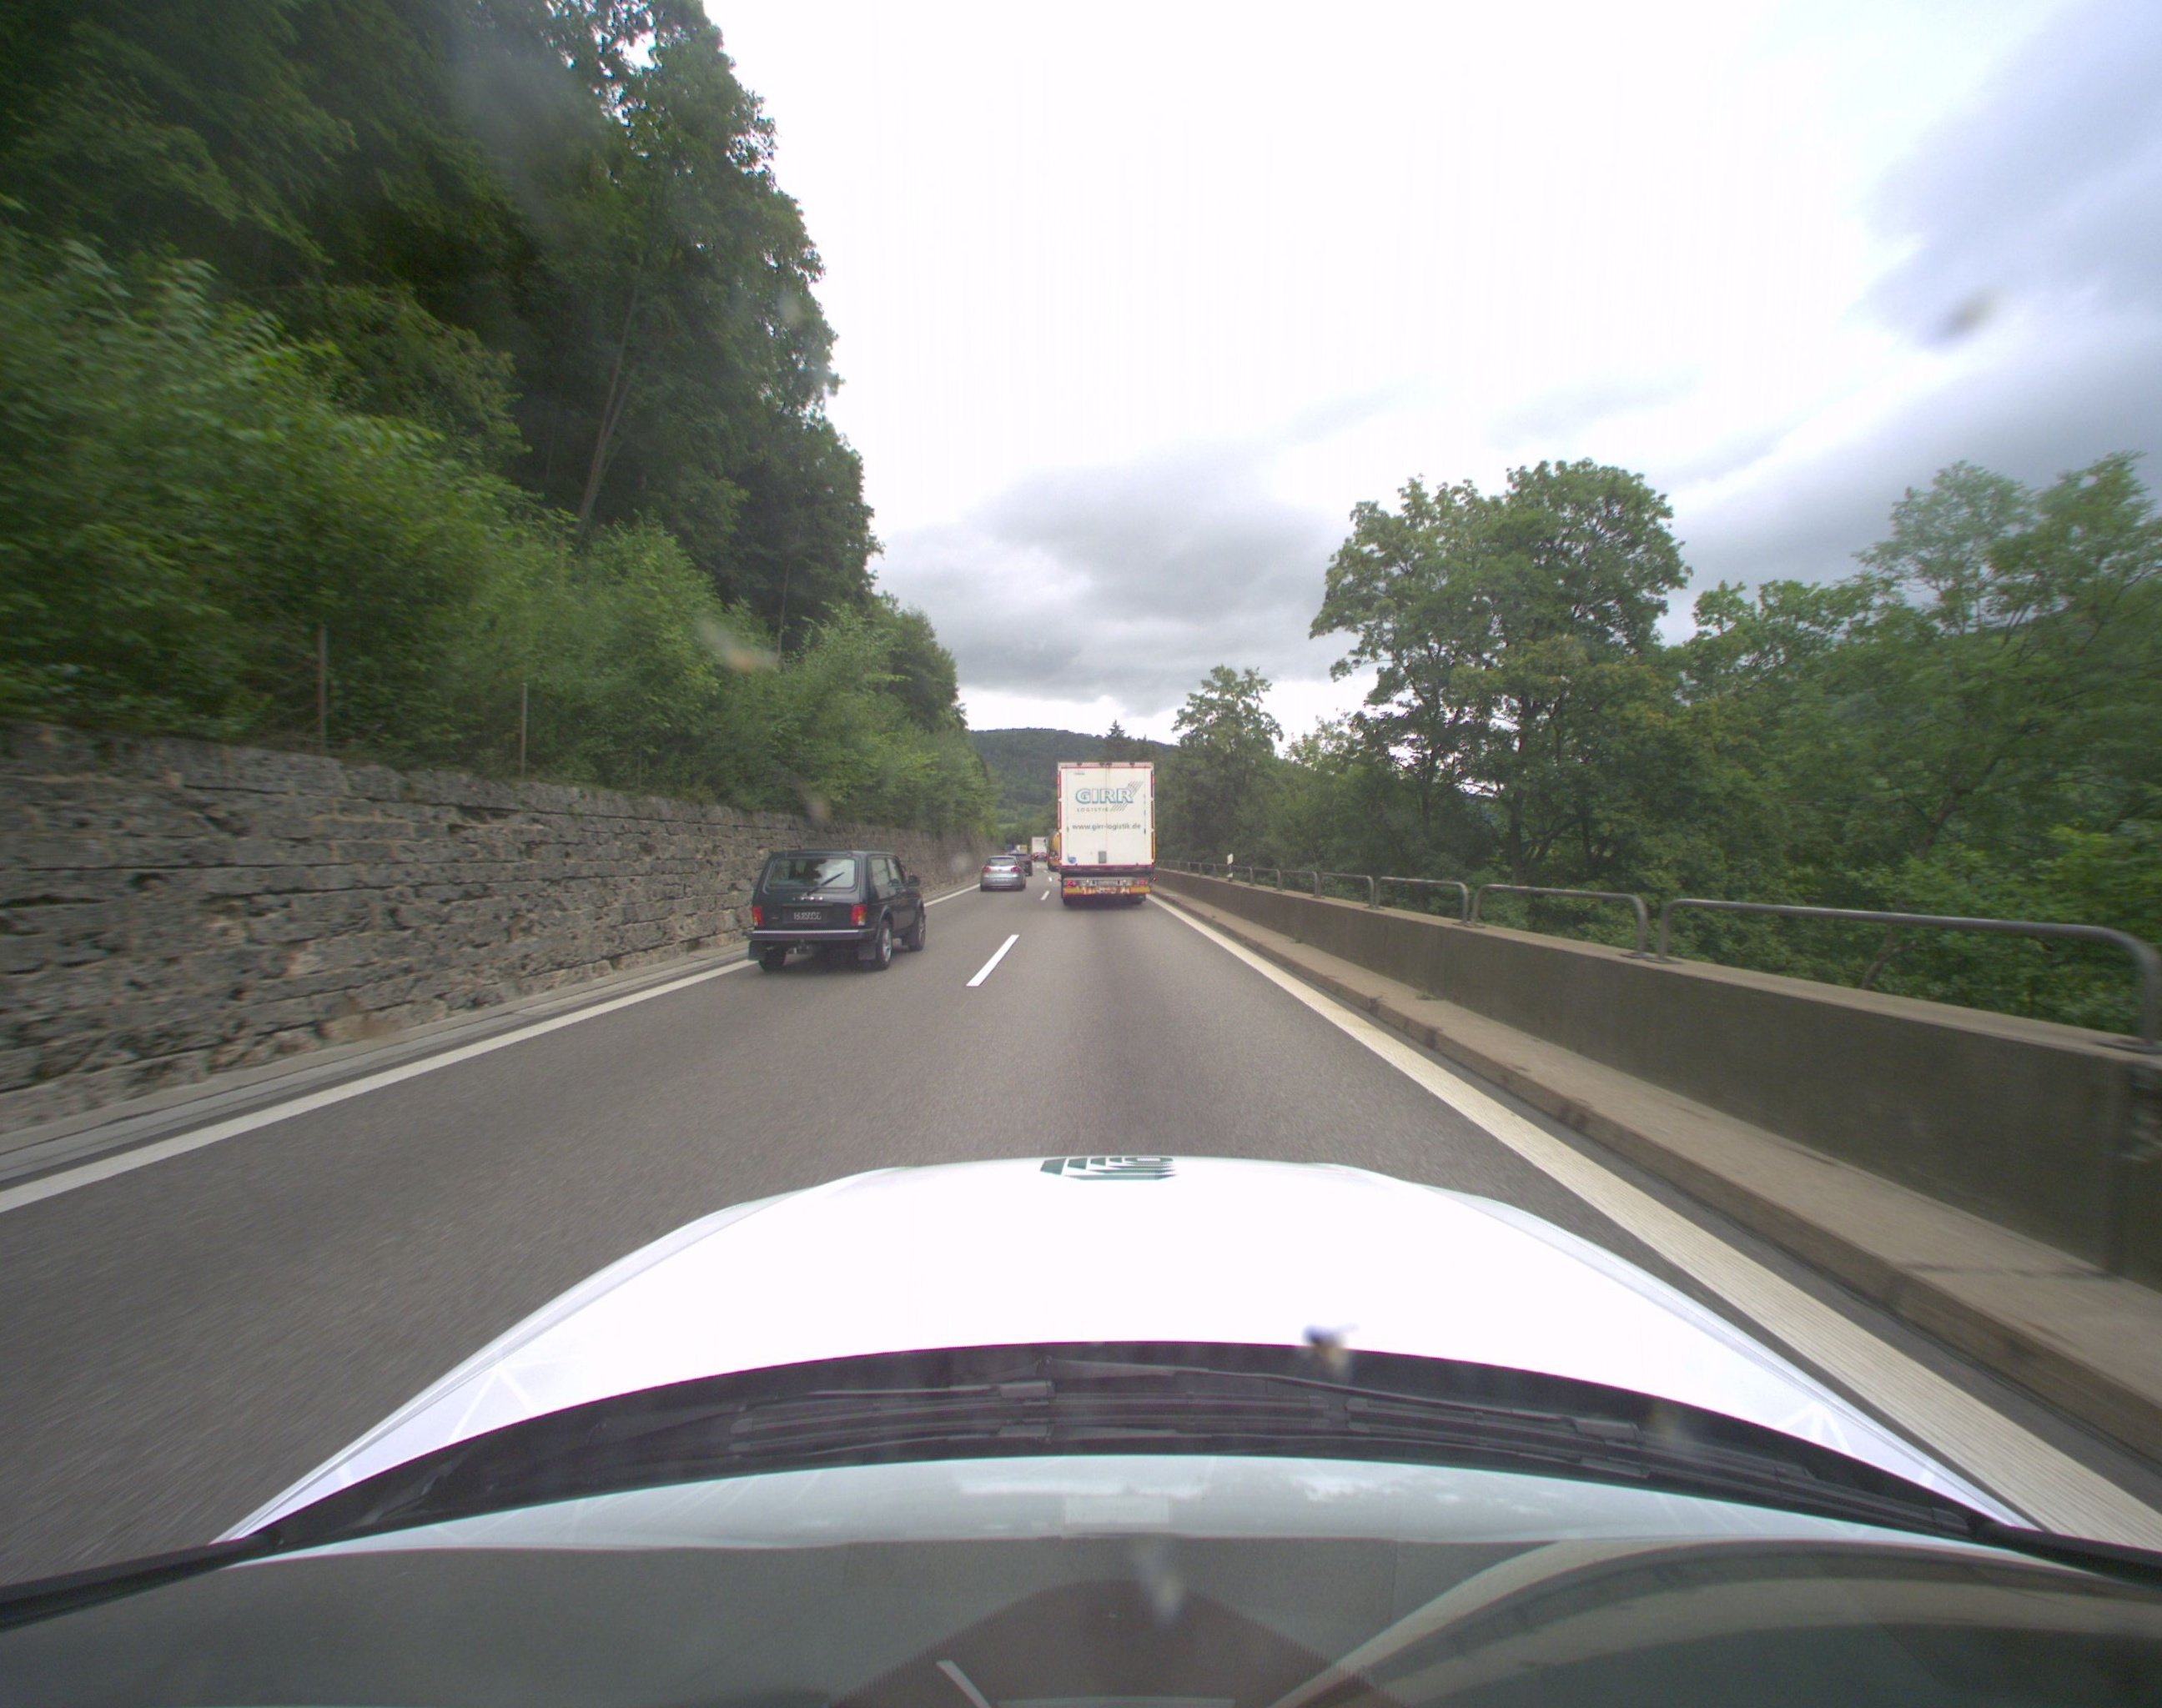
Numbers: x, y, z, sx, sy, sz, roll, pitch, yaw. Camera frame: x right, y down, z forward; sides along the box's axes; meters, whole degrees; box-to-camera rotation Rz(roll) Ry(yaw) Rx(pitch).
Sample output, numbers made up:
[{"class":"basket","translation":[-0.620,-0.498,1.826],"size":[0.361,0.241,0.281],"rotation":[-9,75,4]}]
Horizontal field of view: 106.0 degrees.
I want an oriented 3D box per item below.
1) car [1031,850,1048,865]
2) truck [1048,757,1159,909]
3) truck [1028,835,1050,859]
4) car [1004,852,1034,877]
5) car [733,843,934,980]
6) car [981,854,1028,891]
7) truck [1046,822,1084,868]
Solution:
[{"class":"car","translation":[-5.786,0.559,113.454],"size":[1.985,2.014,4.003],"rotation":[0,-1,3]},{"class":"truck","translation":[0.696,-0.554,25.907],"size":[2.898,3.960,9.281],"rotation":[0,0,1]},{"class":"truck","translation":[-7.048,-1.101,138.724],"size":[3.502,3.847,11.764],"rotation":[0,-1,-2]},{"class":"car","translation":[-4.148,0.689,55.245],"size":[1.912,1.595,4.175],"rotation":[0,0,-3]},{"class":"car","translation":[-3.354,0.706,11.859],"size":[1.663,1.639,4.067],"rotation":[0,0,0]},{"class":"car","translation":[-3.206,0.753,34.758],"size":[1.724,1.486,3.998],"rotation":[0,0,-1]},{"class":"truck","translation":[-1.407,-0.652,67.556],"size":[2.482,3.571,9.290],"rotation":[0,0,-5]}]
